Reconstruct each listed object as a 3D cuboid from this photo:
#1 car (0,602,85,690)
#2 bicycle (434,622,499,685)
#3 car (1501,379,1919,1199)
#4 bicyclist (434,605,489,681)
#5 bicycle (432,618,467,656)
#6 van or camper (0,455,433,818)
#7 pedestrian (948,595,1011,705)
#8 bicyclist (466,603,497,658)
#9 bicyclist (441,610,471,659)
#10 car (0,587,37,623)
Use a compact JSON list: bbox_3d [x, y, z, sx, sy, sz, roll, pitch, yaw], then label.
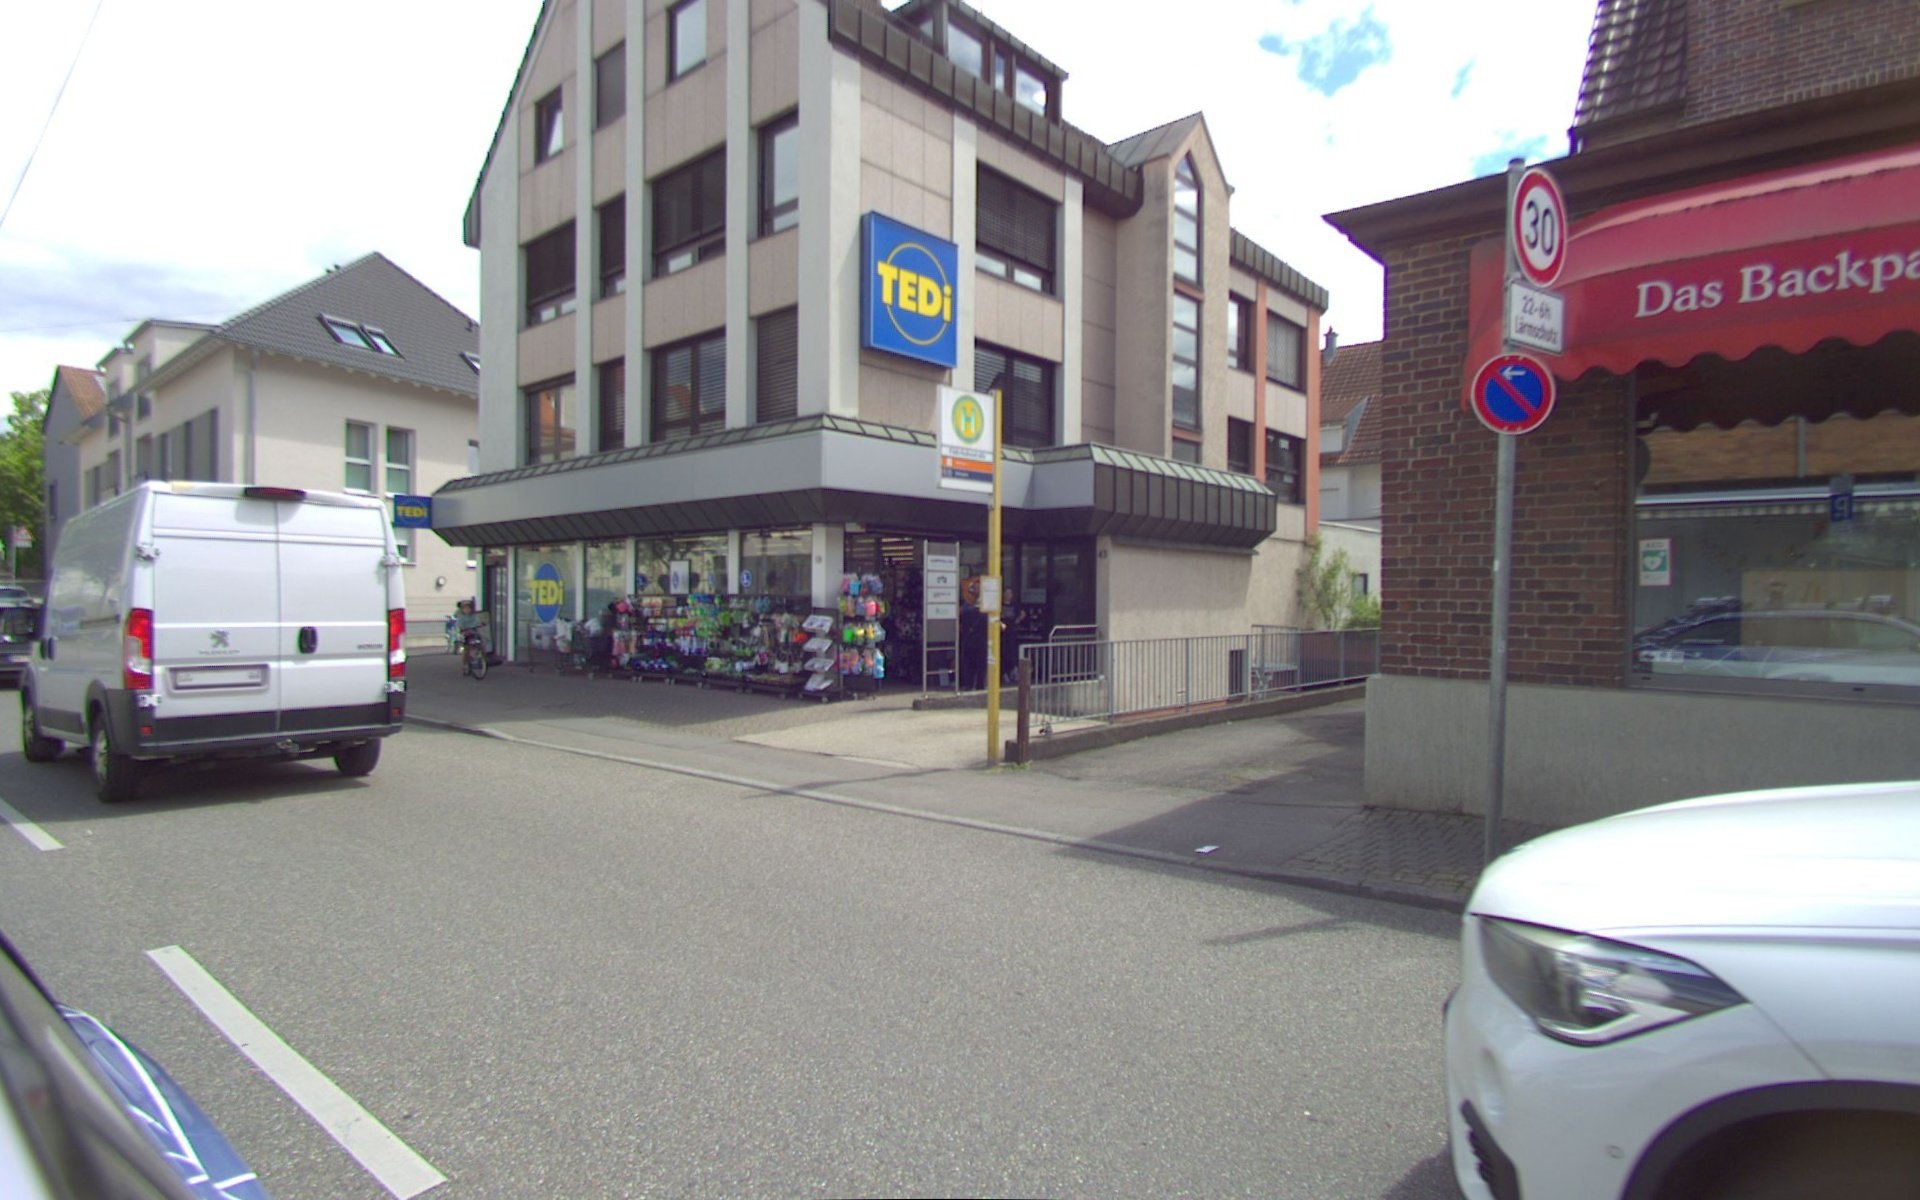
[{"bbox_3d":[-17.934,0.800,18.833,3.839,1.522,1.774,0,-1,38],"label":"car"},{"bbox_3d":[-9.400,0.993,19.255,1.733,1.058,0.439,1,4,41],"label":"bicycle"},{"bbox_3d":[3.059,0.544,0.984,4.217,1.652,1.762,-1,-2,40],"label":"car"},{"bbox_3d":[-9.500,0.800,19.277,0.761,1.347,0.660,1,4,41],"label":"bicyclist"},{"bbox_3d":[-13.217,0.939,26.243,0.451,0.924,1.594,-1,0,-13],"label":"bicycle"},{"bbox_3d":[-7.367,0.323,9.765,5.433,2.576,2.126,-1,-2,40],"label":"van or camper"},{"bbox_3d":[0.293,0.732,15.264,0.565,1.570,0.773,-1,3,-44],"label":"pedestrian"},{"bbox_3d":[-12.140,0.777,25.685,0.580,1.376,0.425,-1,-1,-6],"label":"bicyclist"},{"bbox_3d":[-13.124,0.881,26.352,0.631,1.251,0.428,0,1,-16],"label":"bicyclist"},{"bbox_3d":[-37.611,0.197,39.738,3.473,1.340,1.643,0,-1,42],"label":"car"}]
